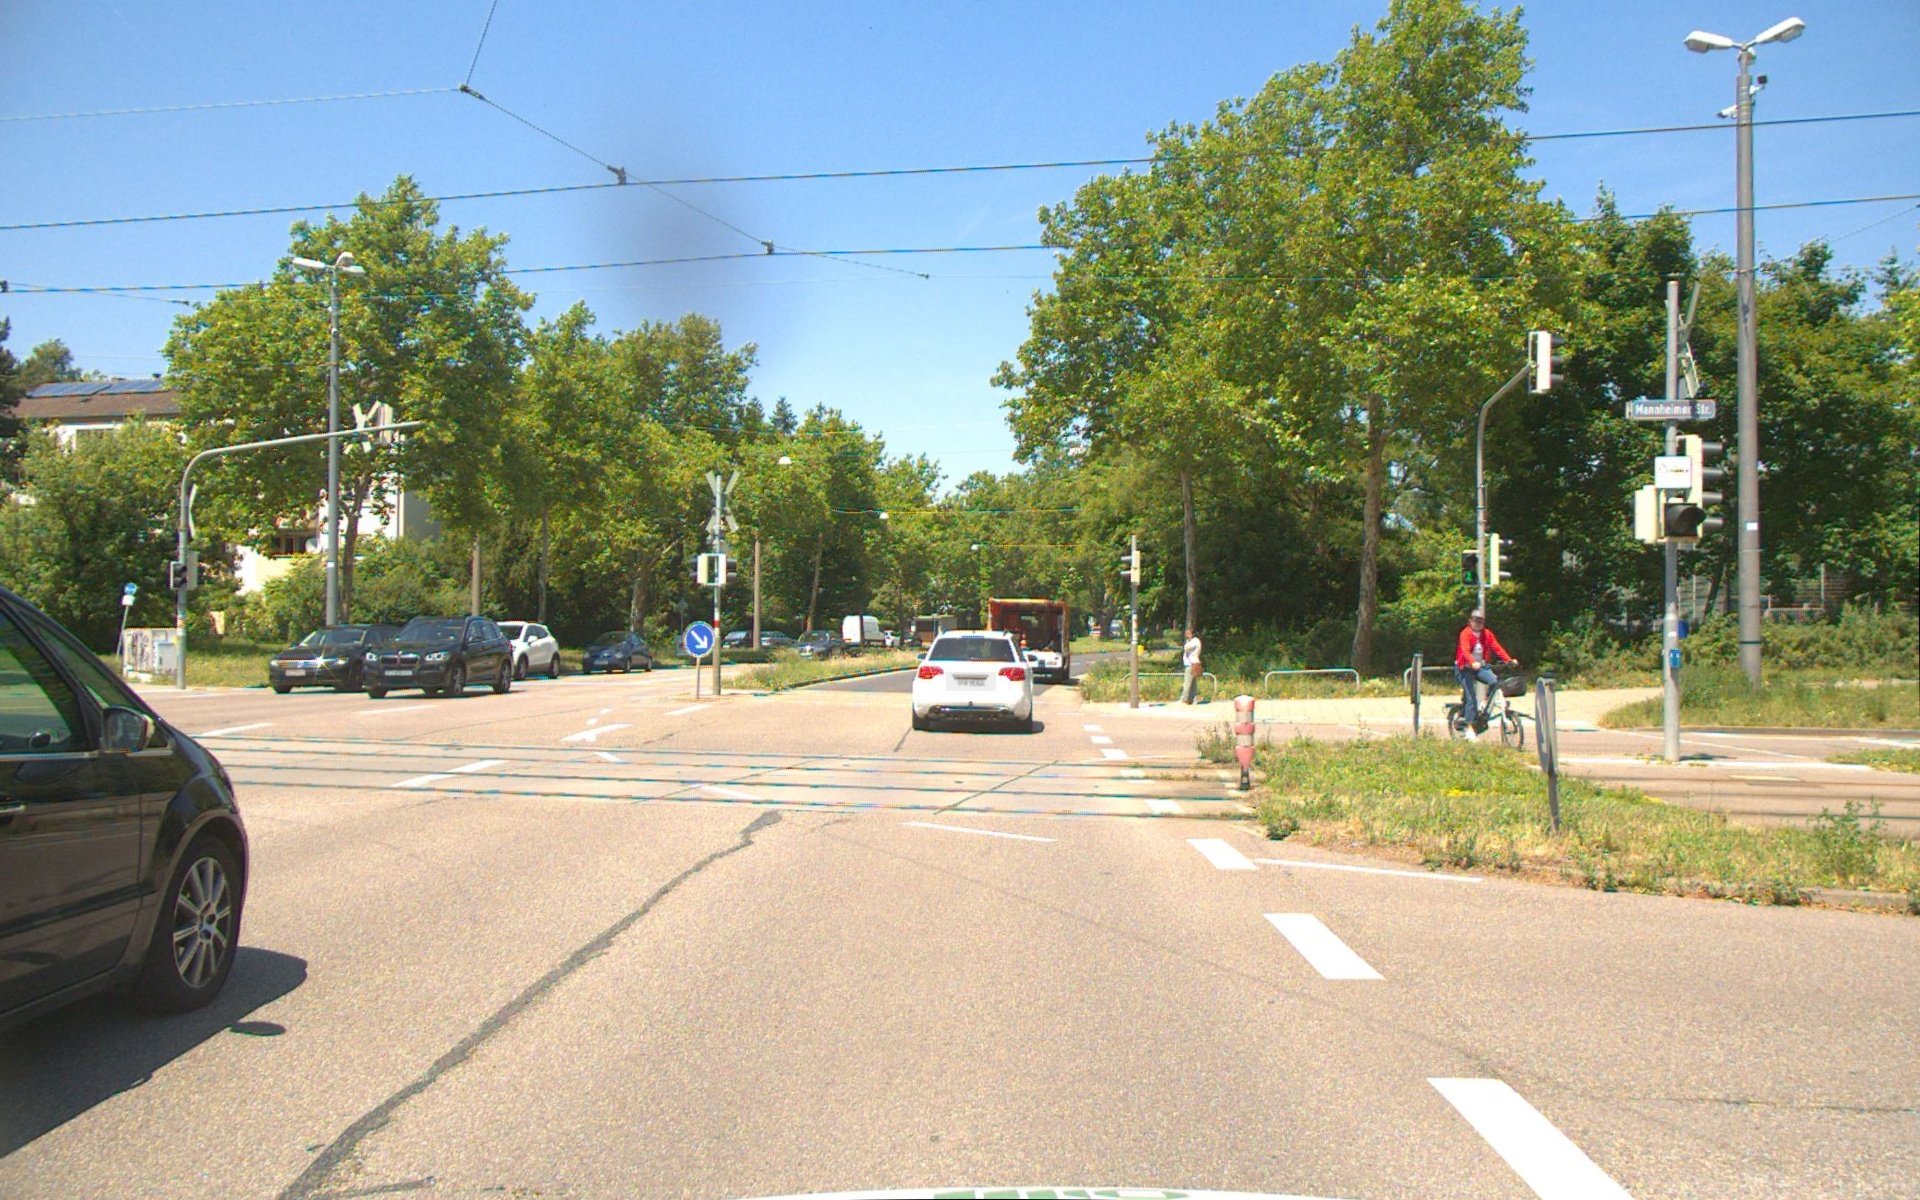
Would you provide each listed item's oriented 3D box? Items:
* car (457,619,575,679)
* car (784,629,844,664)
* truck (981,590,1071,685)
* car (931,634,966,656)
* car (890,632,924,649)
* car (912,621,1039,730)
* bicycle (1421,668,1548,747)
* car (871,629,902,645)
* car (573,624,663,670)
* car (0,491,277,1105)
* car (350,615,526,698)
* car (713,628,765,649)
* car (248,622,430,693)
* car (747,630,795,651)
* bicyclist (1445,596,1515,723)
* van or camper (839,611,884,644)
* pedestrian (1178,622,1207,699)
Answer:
[{"bbox_3d":[-12.614,1.359,47.291,1.749,1.643,4.407,0,-1,6],"label":"car"},{"bbox_3d":[-6.282,2.015,71.689,1.699,1.419,4.181,-2,-1,7],"label":"car"},{"bbox_3d":[2.118,1.086,50.733,2.458,2.604,7.606,2,0,4],"label":"truck"},{"bbox_3d":[-0.778,3.222,118.620,1.773,1.533,4.597,0,-1,9],"label":"car"},{"bbox_3d":[-4.708,3.619,148.086,1.790,1.415,3.948,0,-1,18],"label":"car"},{"bbox_3d":[0.250,1.060,24.433,1.726,1.471,3.616,0,-1,1],"label":"car"},{"bbox_3d":[6.619,1.337,20.956,0.578,0.911,1.801,1,-1,-20],"label":"bicycle"},{"bbox_3d":[-6.338,3.165,142.417,1.657,1.306,3.805,0,-1,13],"label":"car"},{"bbox_3d":[-11.595,1.576,56.280,1.683,1.481,3.872,0,-1,10],"label":"car"},{"bbox_3d":[-3.692,0.568,4.428,1.816,1.786,4.648,0,-1,-1],"label":"car"},{"bbox_3d":[-10.551,1.117,33.778,1.868,1.566,4.301,0,-1,6],"label":"car"},{"bbox_3d":[-14.932,2.588,111.982,1.843,1.417,4.000,0,-1,21],"label":"car"},{"bbox_3d":[-13.790,1.228,37.048,1.908,1.465,4.749,0,-1,5],"label":"car"},{"bbox_3d":[-13.376,2.855,117.339,1.842,1.400,4.001,0,-1,18],"label":"car"},{"bbox_3d":[6.605,0.743,21.029,0.569,1.584,0.669,1,-1,-20],"label":"bicyclist"},{"bbox_3d":[-8.073,2.239,136.093,2.136,2.633,5.312,0,-1,15],"label":"van or camper"},{"bbox_3d":[4.630,1.190,32.871,0.541,1.510,0.630,0,-1,11],"label":"pedestrian"}]
